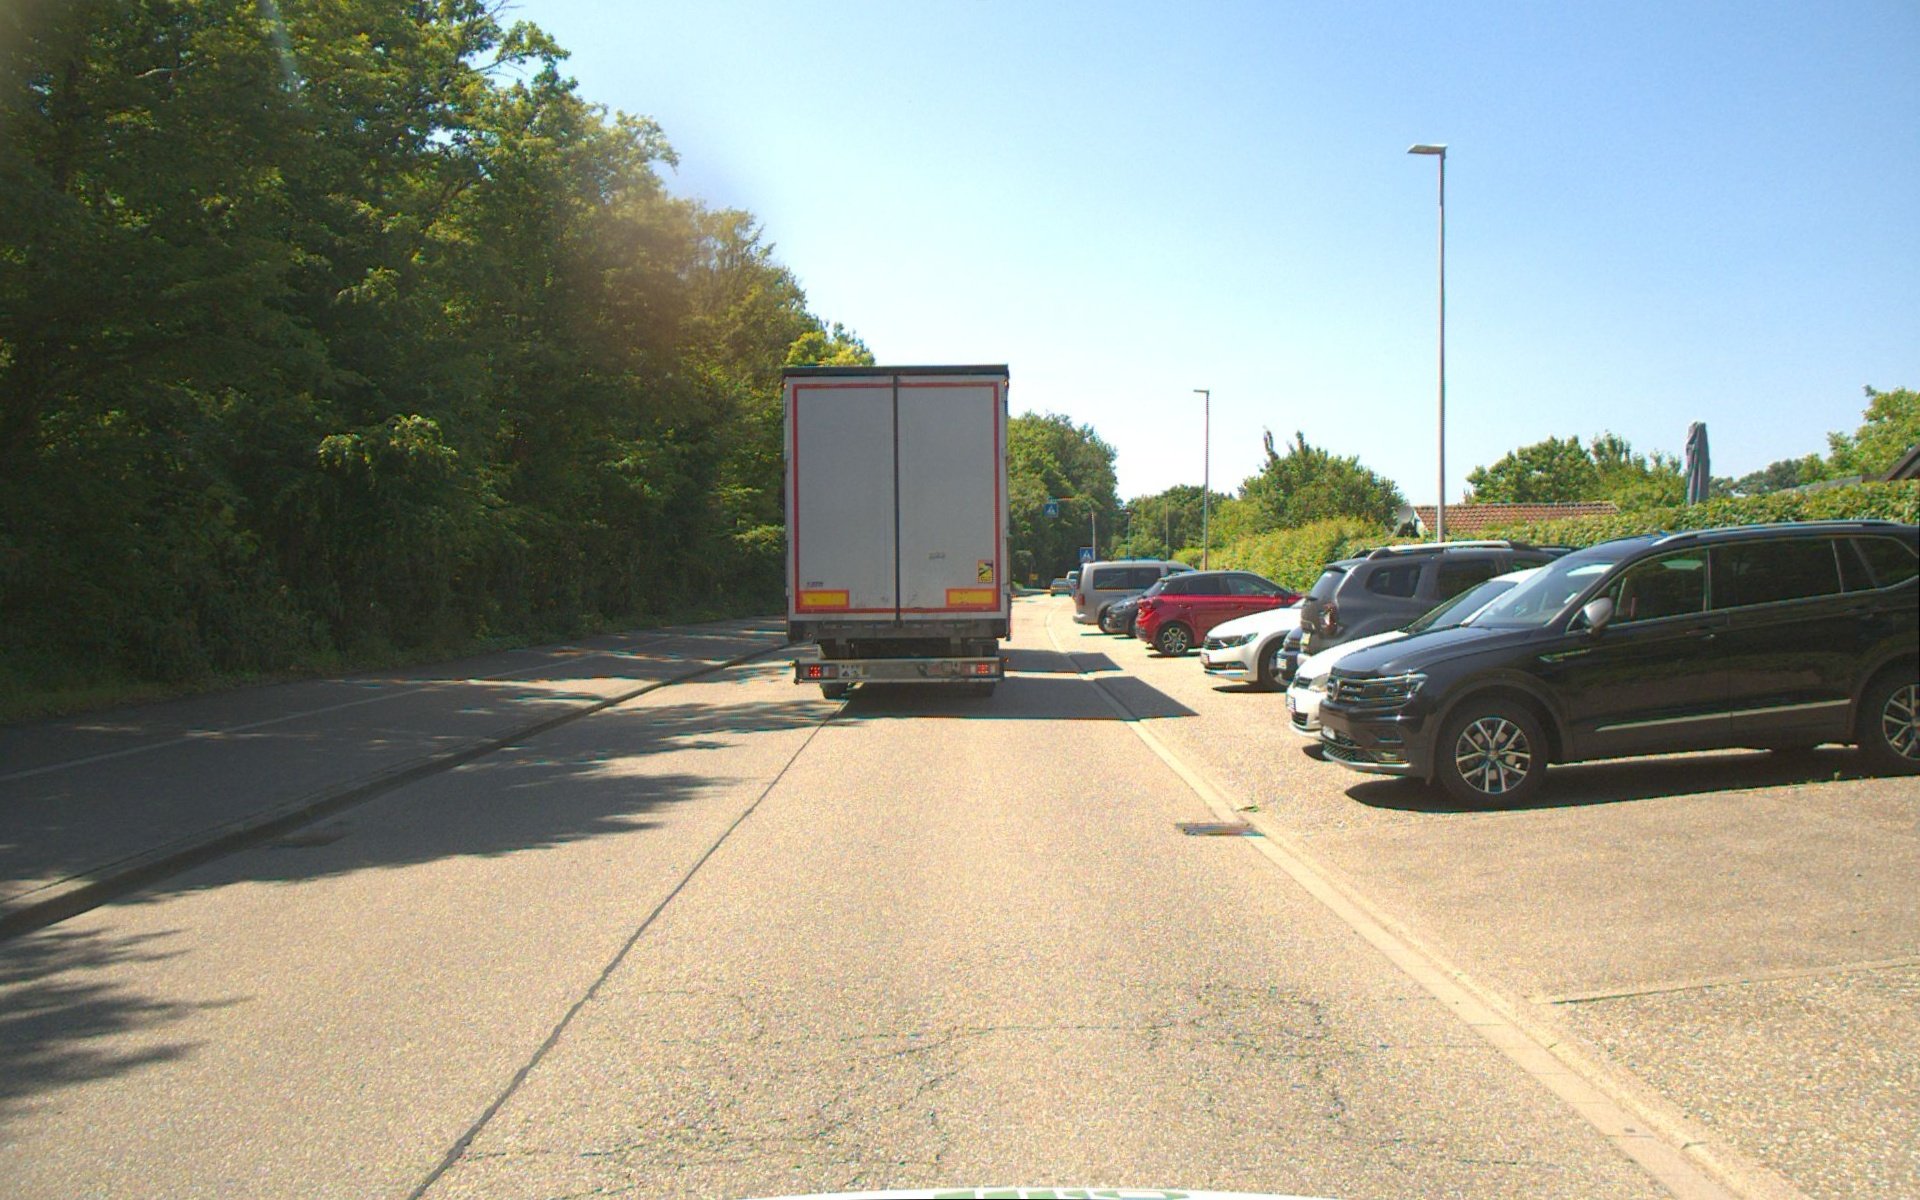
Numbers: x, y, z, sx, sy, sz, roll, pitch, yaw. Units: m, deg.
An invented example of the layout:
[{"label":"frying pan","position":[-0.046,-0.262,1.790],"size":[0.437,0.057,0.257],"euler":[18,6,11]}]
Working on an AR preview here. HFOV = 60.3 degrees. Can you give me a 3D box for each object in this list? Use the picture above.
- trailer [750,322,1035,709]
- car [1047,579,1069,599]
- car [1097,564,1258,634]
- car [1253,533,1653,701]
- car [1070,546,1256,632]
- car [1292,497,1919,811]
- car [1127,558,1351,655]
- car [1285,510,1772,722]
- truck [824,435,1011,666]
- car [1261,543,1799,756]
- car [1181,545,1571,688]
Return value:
[{"label":"trailer","position":[-0.727,-1.012,23.831],"size":[3.049,4.174,11.537],"euler":[-1,1,0]},{"label":"car","position":[7.757,-0.907,131.181],"size":[1.743,1.512,4.002],"euler":[0,1,3]},{"label":"car","position":[5.164,-0.032,39.500],"size":[3.504,1.528,1.840],"euler":[-2,1,-4]},{"label":"car","position":[5.550,0.168,18.944],"size":[3.968,1.575,1.757],"euler":[-4,1,-2]},{"label":"car","position":[5.173,-0.295,42.608],"size":[4.525,1.880,1.996],"euler":[-4,1,2]},{"label":"car","position":[4.717,0.295,11.386],"size":[4.380,1.733,1.913],"euler":[-4,1,-2]},{"label":"car","position":[5.142,0.100,30.900],"size":[3.838,1.504,1.845],"euler":[-4,1,1]},{"label":"car","position":[5.536,0.135,16.521],"size":[4.170,1.727,1.854],"euler":[-4,1,2]},{"label":"truck","position":[-0.666,-0.870,30.729],"size":[3.049,3.790,6.414],"euler":[-1,1,1]},{"label":"car","position":[4.695,0.382,14.086],"size":[3.914,1.477,1.832],"euler":[-3,1,2]},{"label":"car","position":[5.285,0.180,21.404],"size":[4.467,1.464,1.960],"euler":[-4,1,-3]}]
